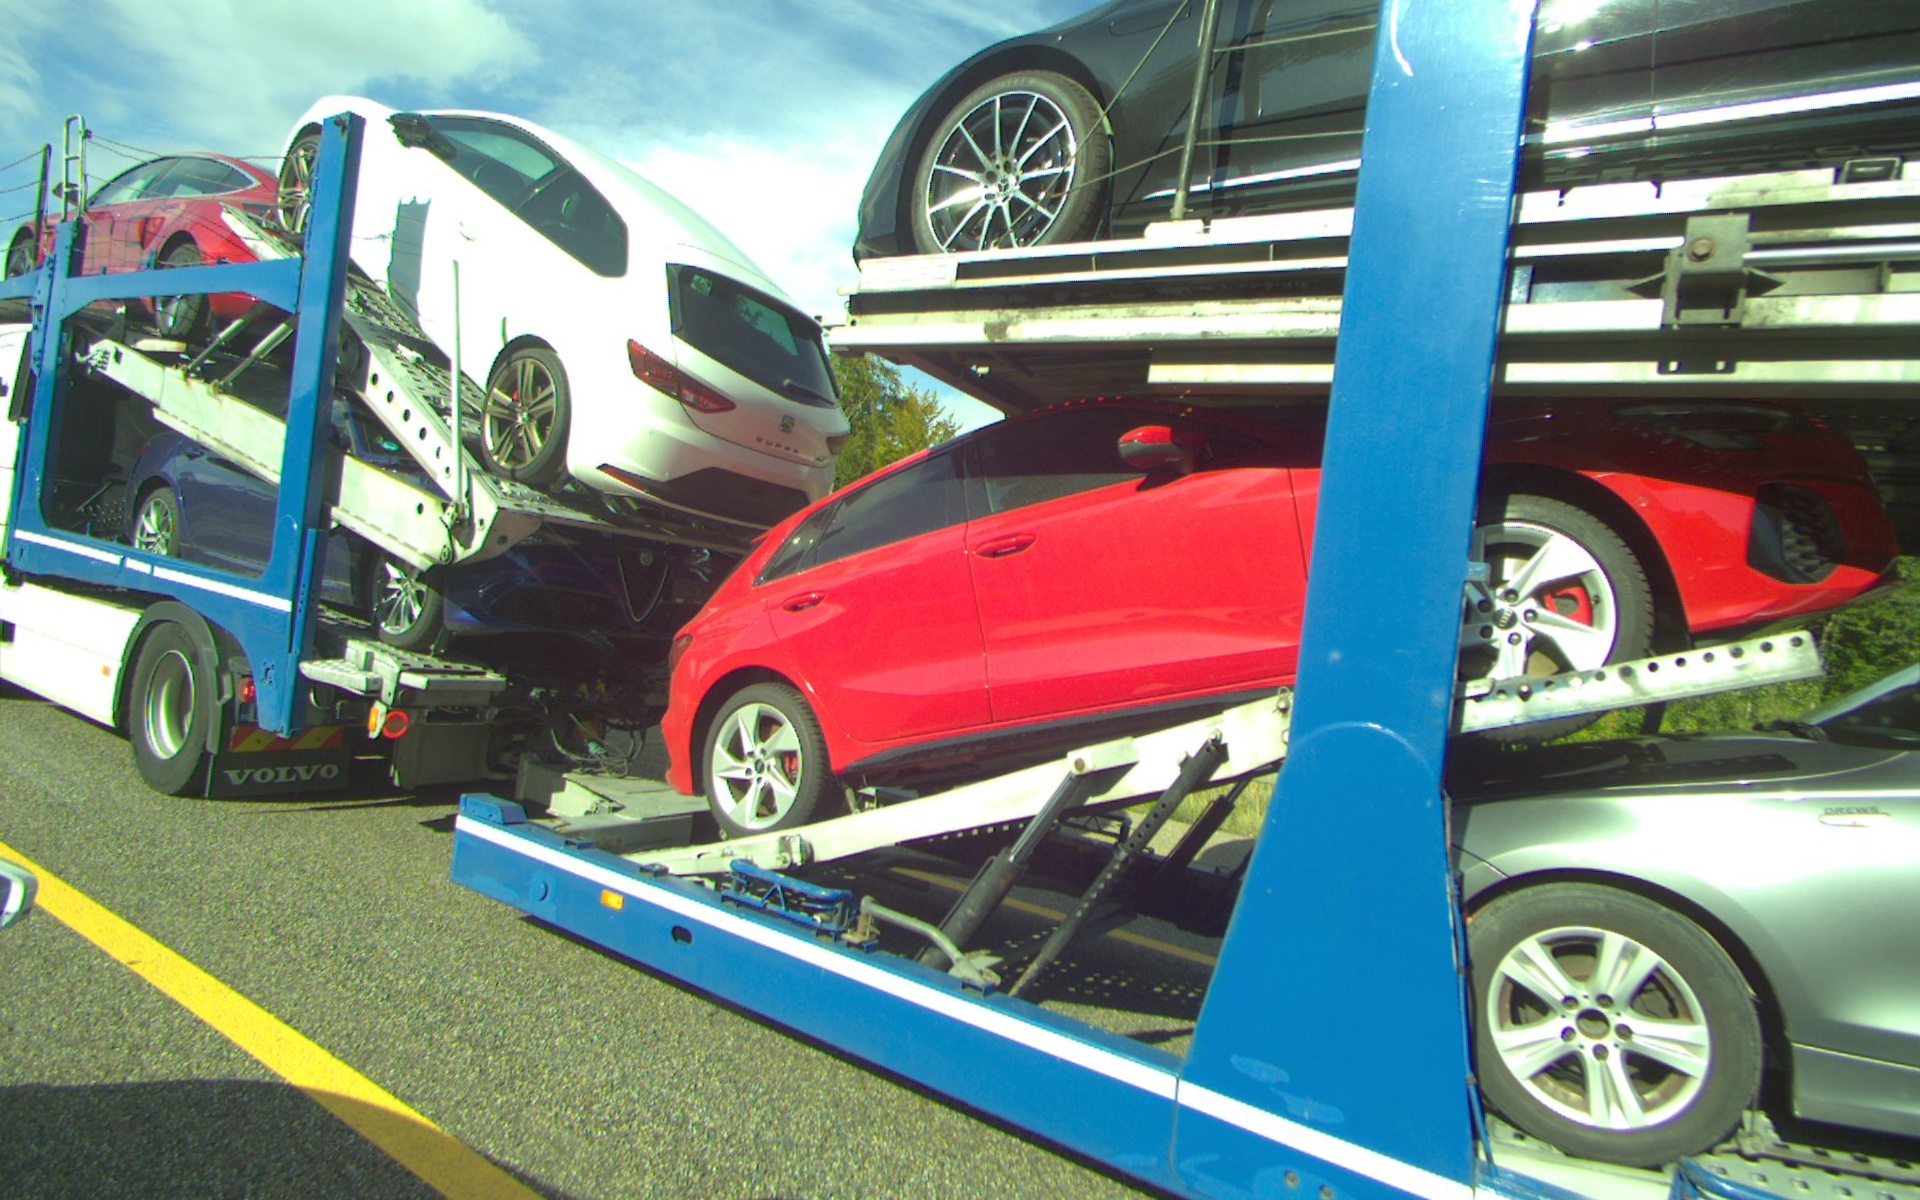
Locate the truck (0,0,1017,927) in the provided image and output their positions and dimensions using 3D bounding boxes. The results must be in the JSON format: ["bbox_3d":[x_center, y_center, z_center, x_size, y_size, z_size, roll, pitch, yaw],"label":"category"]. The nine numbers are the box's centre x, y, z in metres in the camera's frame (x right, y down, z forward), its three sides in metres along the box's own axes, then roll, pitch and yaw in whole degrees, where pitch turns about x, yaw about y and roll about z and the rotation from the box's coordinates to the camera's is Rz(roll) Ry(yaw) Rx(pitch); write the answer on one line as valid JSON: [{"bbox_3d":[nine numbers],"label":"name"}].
[{"bbox_3d":[-4.109,-1.010,7.573,7.819,4.245,3.768,6,-2,32],"label":"truck"}]

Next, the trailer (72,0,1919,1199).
[{"bbox_3d":[2.782,-0.297,3.215,15.960,4.245,3.733,6,-2,32],"label":"trailer"}]
